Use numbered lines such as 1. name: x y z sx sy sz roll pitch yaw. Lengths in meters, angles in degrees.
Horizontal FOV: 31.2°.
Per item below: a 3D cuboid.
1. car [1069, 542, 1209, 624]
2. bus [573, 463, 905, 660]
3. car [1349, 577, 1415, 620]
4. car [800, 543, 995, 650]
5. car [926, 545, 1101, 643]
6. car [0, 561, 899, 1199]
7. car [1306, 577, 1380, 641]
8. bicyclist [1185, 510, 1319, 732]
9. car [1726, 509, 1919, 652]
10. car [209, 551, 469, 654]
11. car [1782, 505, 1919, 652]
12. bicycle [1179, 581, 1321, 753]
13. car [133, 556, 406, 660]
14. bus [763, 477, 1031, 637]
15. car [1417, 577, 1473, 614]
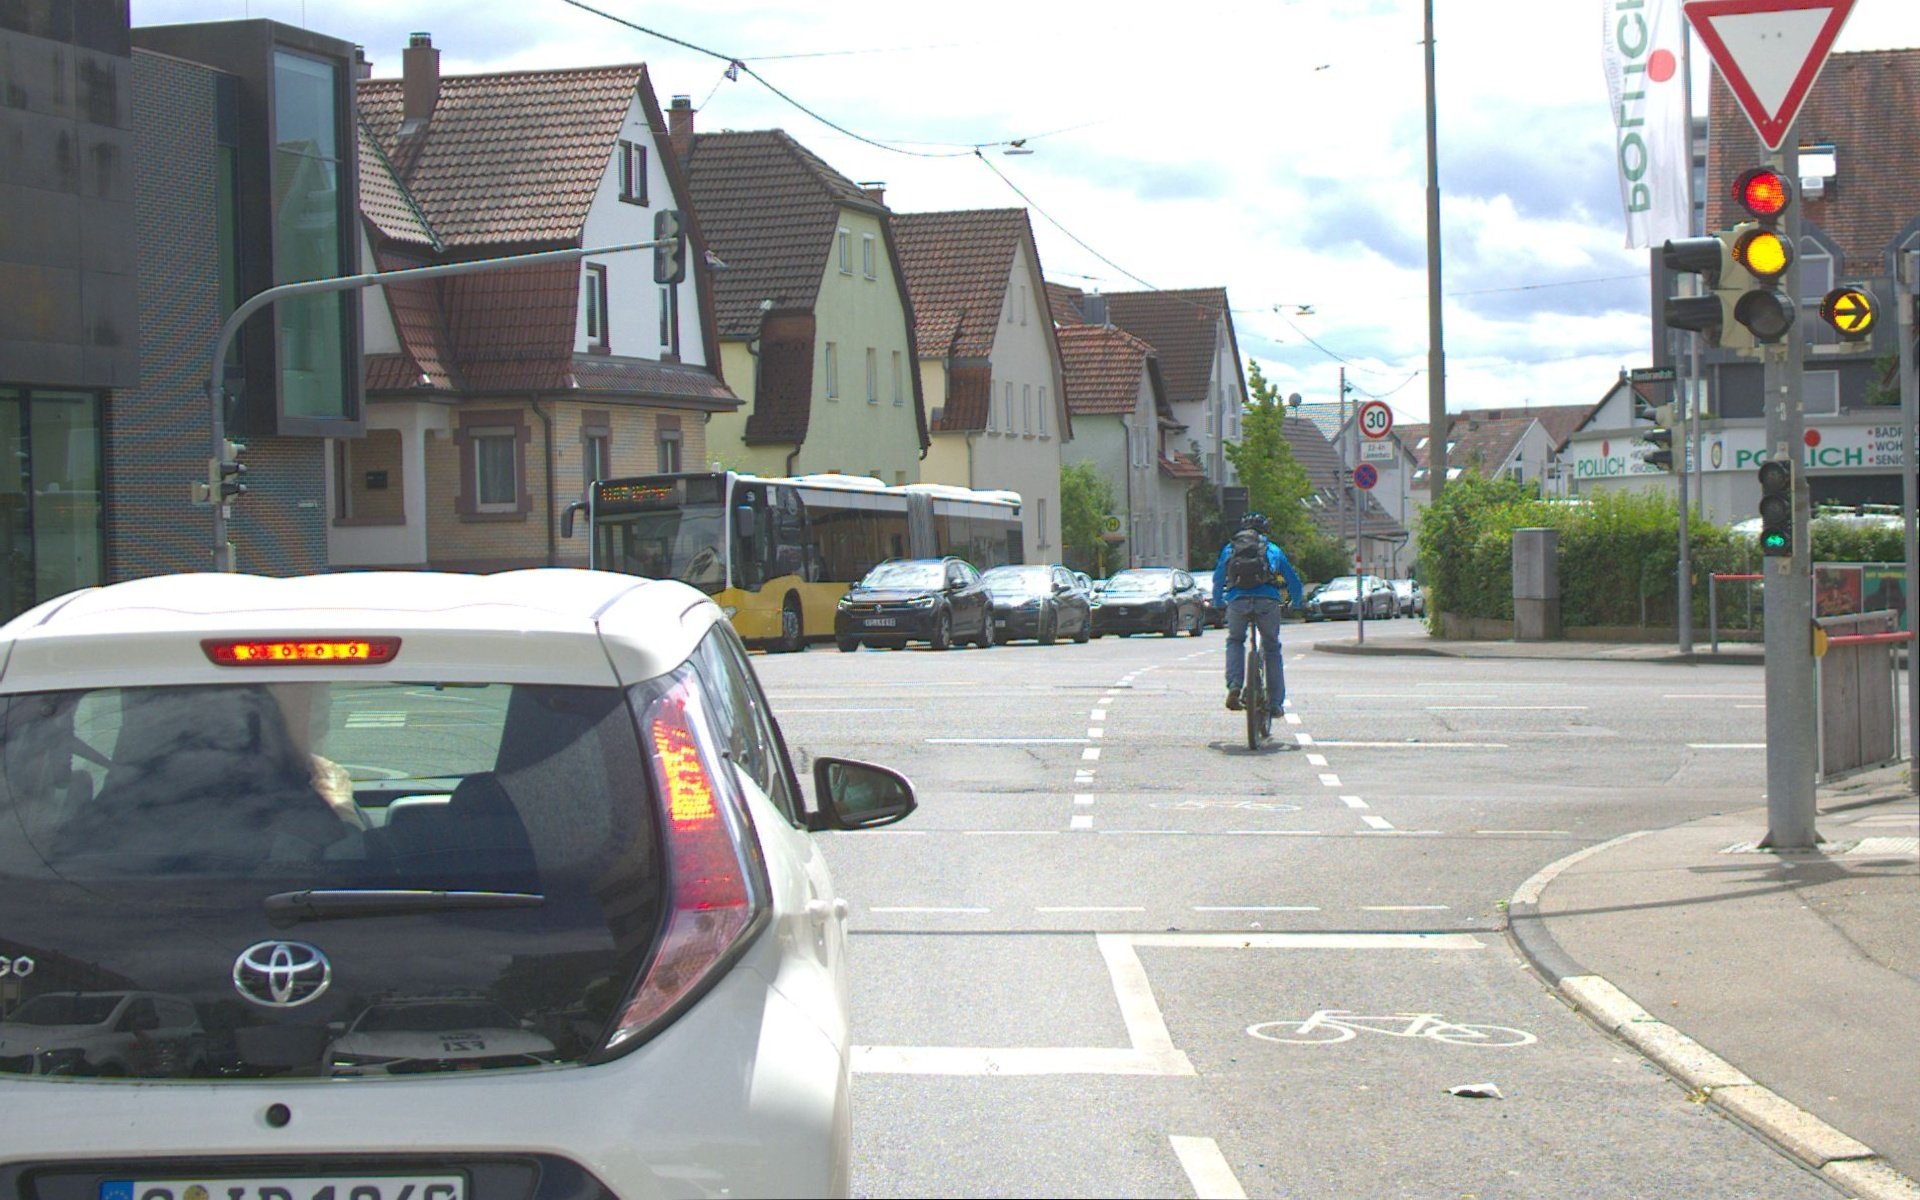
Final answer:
1. car: 3.744 -0.376 71.283 1.995 1.634 3.997 0 1 17
2. bus: -3.539 -0.683 58.118 2.780 3.049 9.185 0 1 15
3. car: 17.074 -0.079 139.000 1.995 1.634 3.997 0 1 17
4. car: -0.955 -0.087 55.280 1.995 1.634 3.997 0 1 17
5. car: 0.985 -0.140 60.431 1.995 1.634 4.180 0 1 17
6. car: -1.036 0.677 6.436 1.738 1.455 3.533 0 1 -3
7. car: 12.665 0.277 113.461 1.995 2.007 3.998 0 1 13
8. bicyclist: 2.194 0.148 25.961 0.840 1.609 1.083 2 1 -1
9. car: 13.294 -0.299 49.454 3.986 2.007 2.001 0 1 -8
10. car: -10.872 0.035 60.282 3.989 1.678 1.999 -1 1 14
11. car: 13.503 -0.297 46.880 3.986 1.941 2.001 0 1 -9
12. bicycle: 2.175 0.481 26.076 0.832 1.160 2.192 2 2 -1
13. car: -11.502 0.113 57.369 3.989 1.634 1.999 1 1 13
14. bus: -1.066 -0.872 67.054 2.780 2.904 9.185 0 1 15
15. car: 22.936 -0.221 162.426 1.995 1.634 3.997 0 1 17
